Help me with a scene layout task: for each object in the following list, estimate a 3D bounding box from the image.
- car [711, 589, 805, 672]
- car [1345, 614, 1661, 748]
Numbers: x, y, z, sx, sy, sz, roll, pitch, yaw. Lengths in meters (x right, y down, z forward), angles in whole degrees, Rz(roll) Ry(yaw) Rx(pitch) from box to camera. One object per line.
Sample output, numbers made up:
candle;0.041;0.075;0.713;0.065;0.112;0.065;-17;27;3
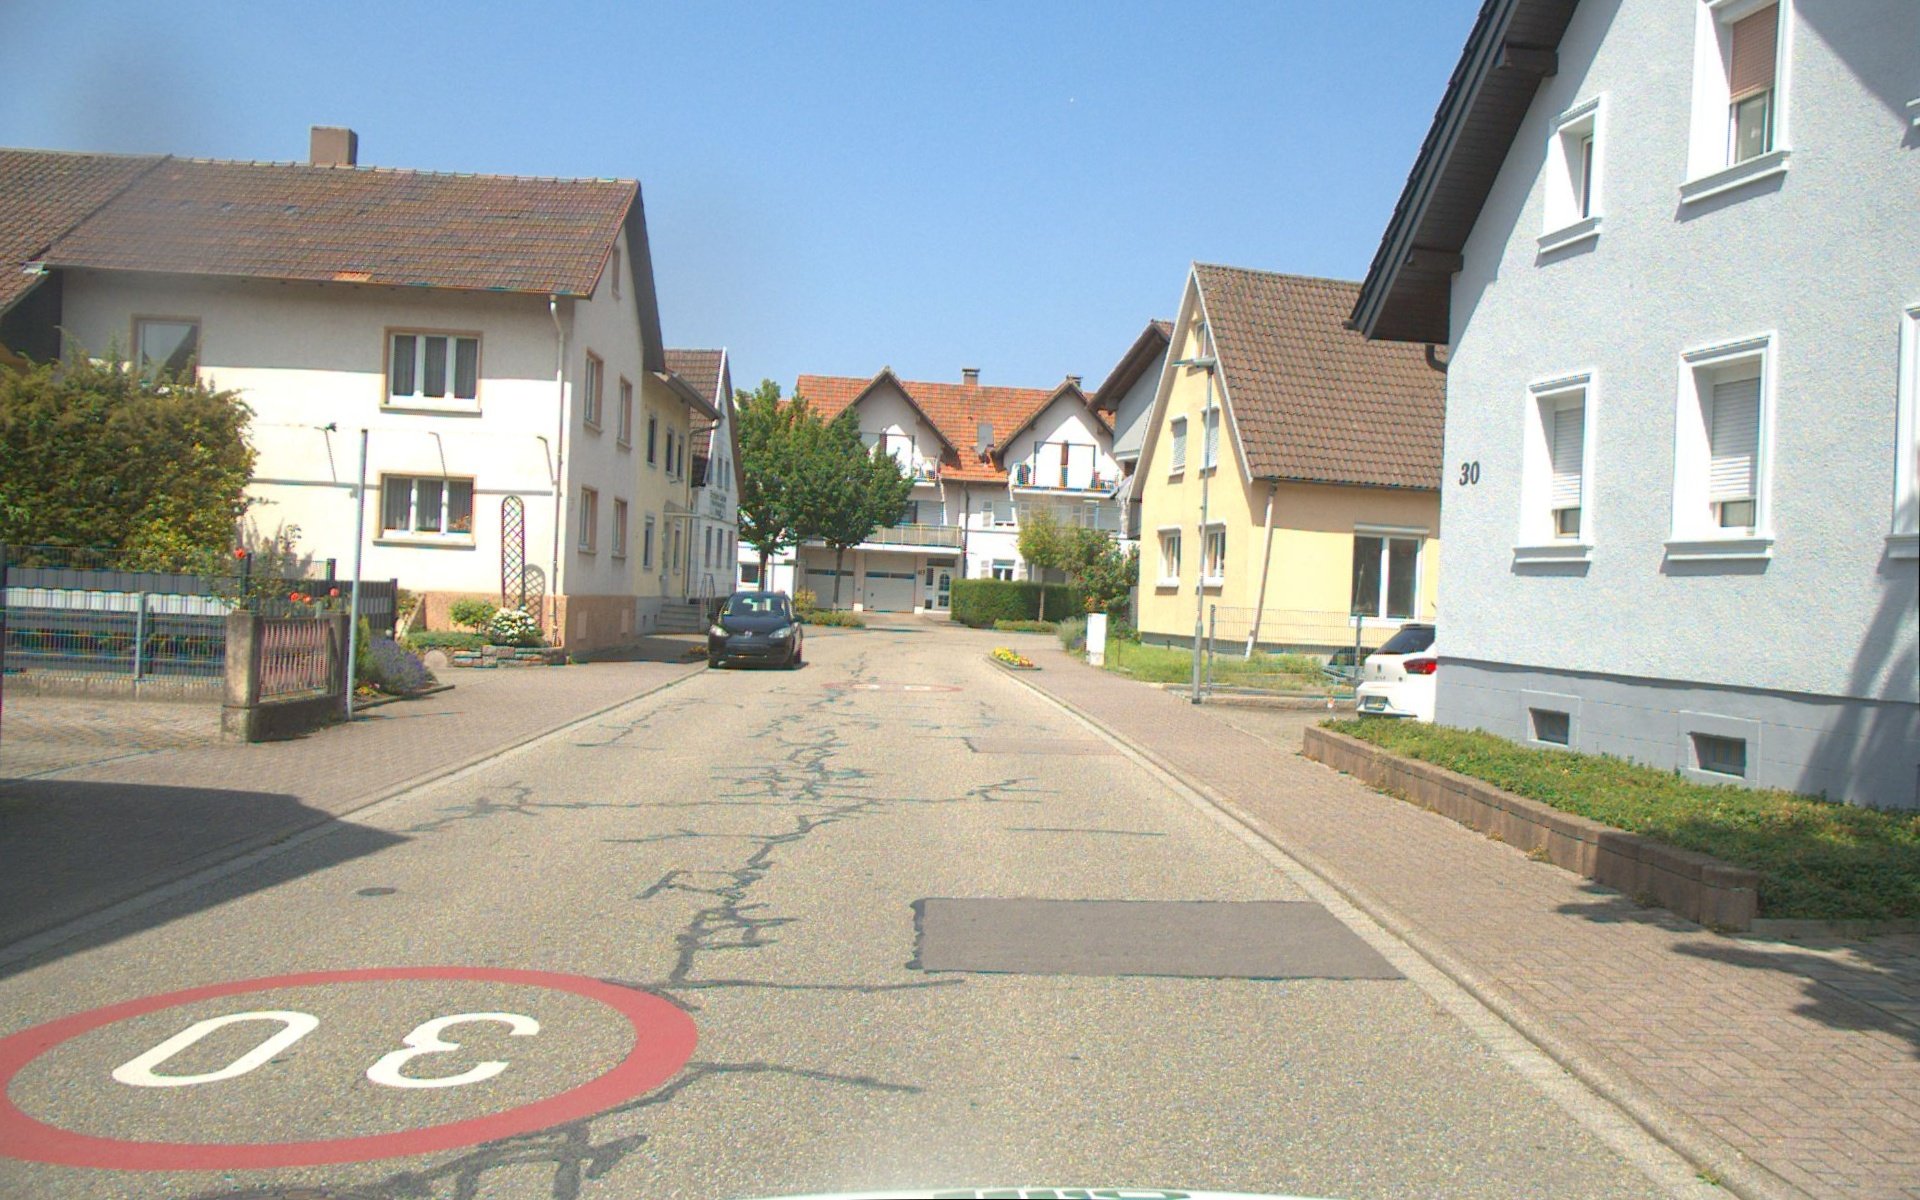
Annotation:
car;-3.976;0.565;33.072;1.594;1.512;3.997;1;0;-4
car;5.940;0.875;18.221;2.987;1.369;1.419;2;-1;-9
